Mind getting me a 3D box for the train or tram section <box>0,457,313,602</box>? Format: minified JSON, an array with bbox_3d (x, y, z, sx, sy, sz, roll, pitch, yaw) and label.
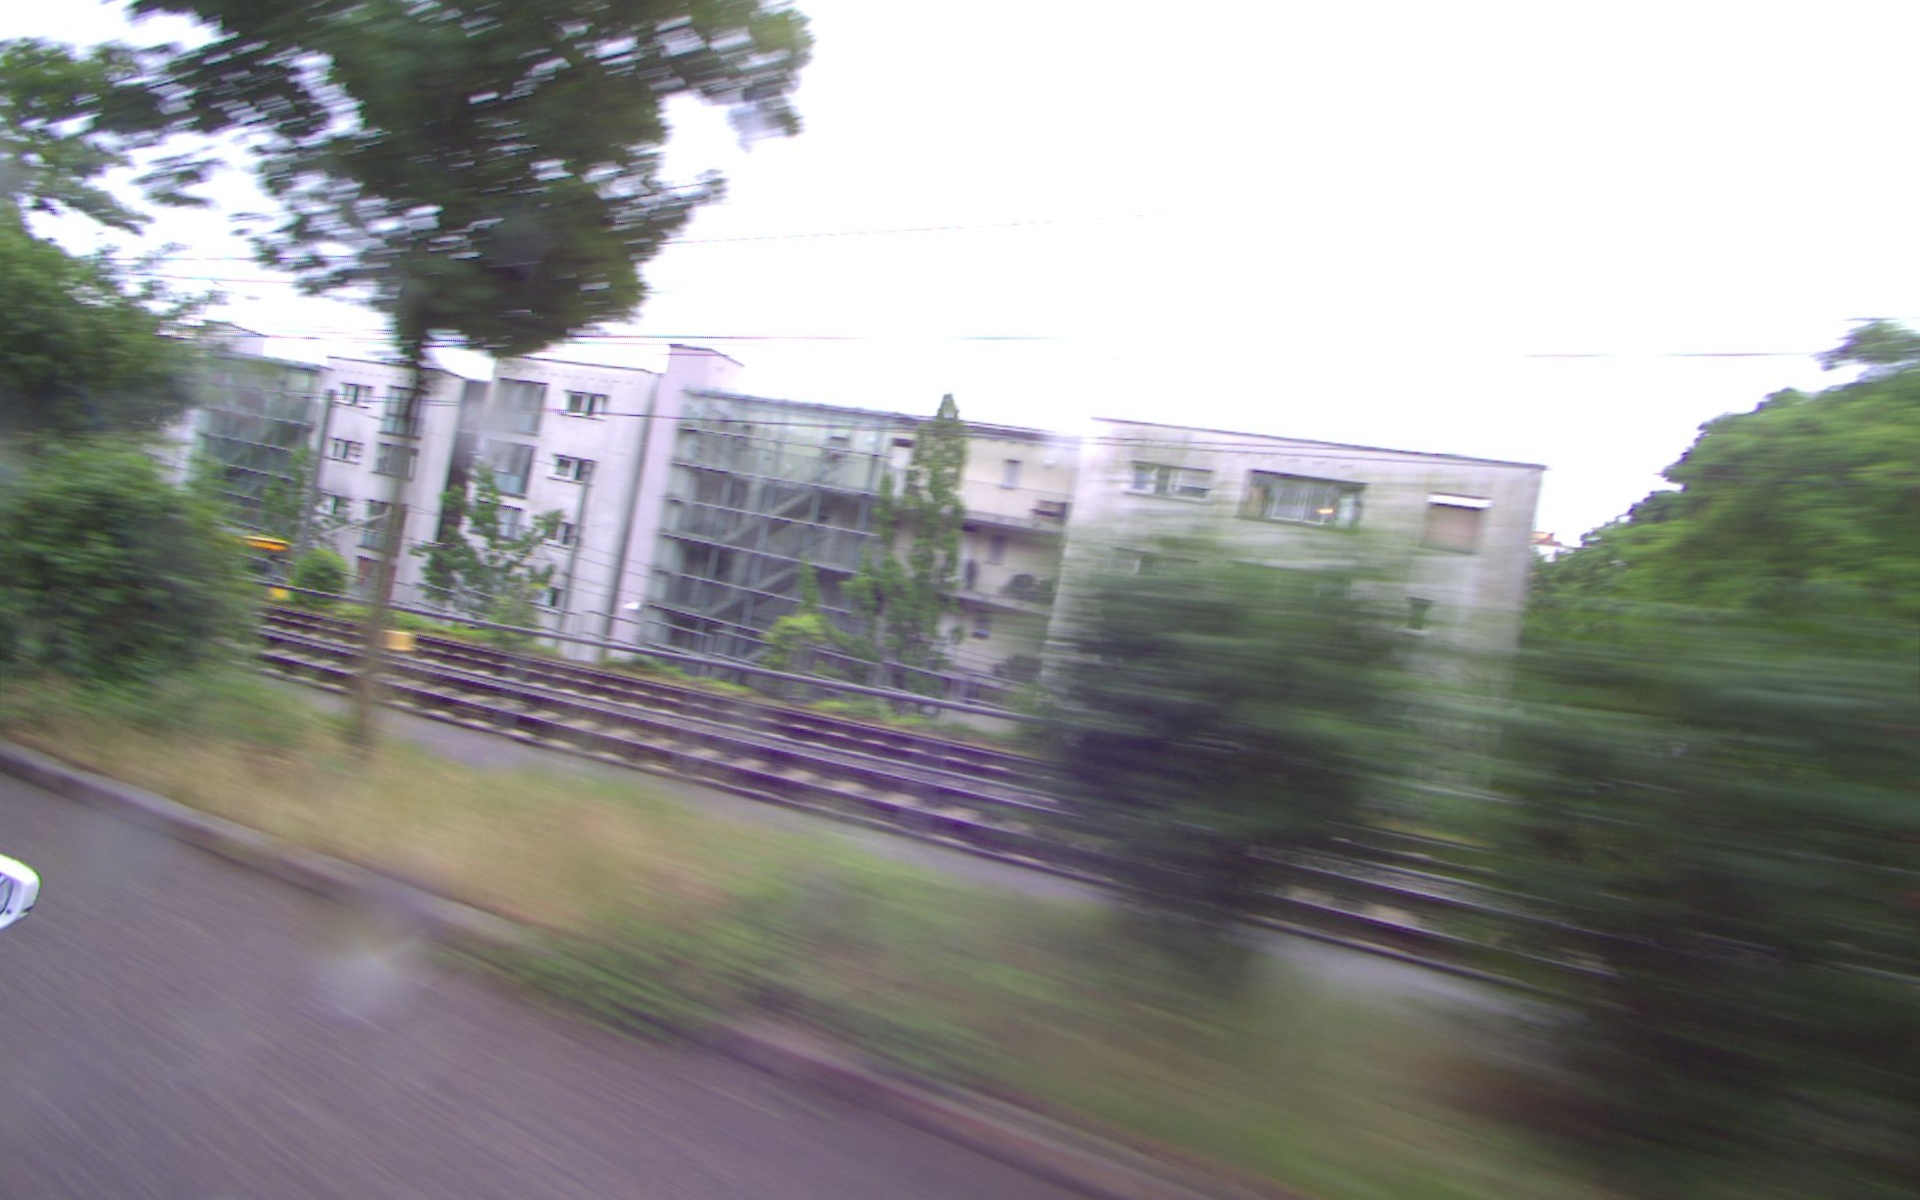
[{"bbox_3d":[-34.539,-3.173,41.710,18.939,3.992,3.342,8,-2,26],"label":"train or tram section"}]
